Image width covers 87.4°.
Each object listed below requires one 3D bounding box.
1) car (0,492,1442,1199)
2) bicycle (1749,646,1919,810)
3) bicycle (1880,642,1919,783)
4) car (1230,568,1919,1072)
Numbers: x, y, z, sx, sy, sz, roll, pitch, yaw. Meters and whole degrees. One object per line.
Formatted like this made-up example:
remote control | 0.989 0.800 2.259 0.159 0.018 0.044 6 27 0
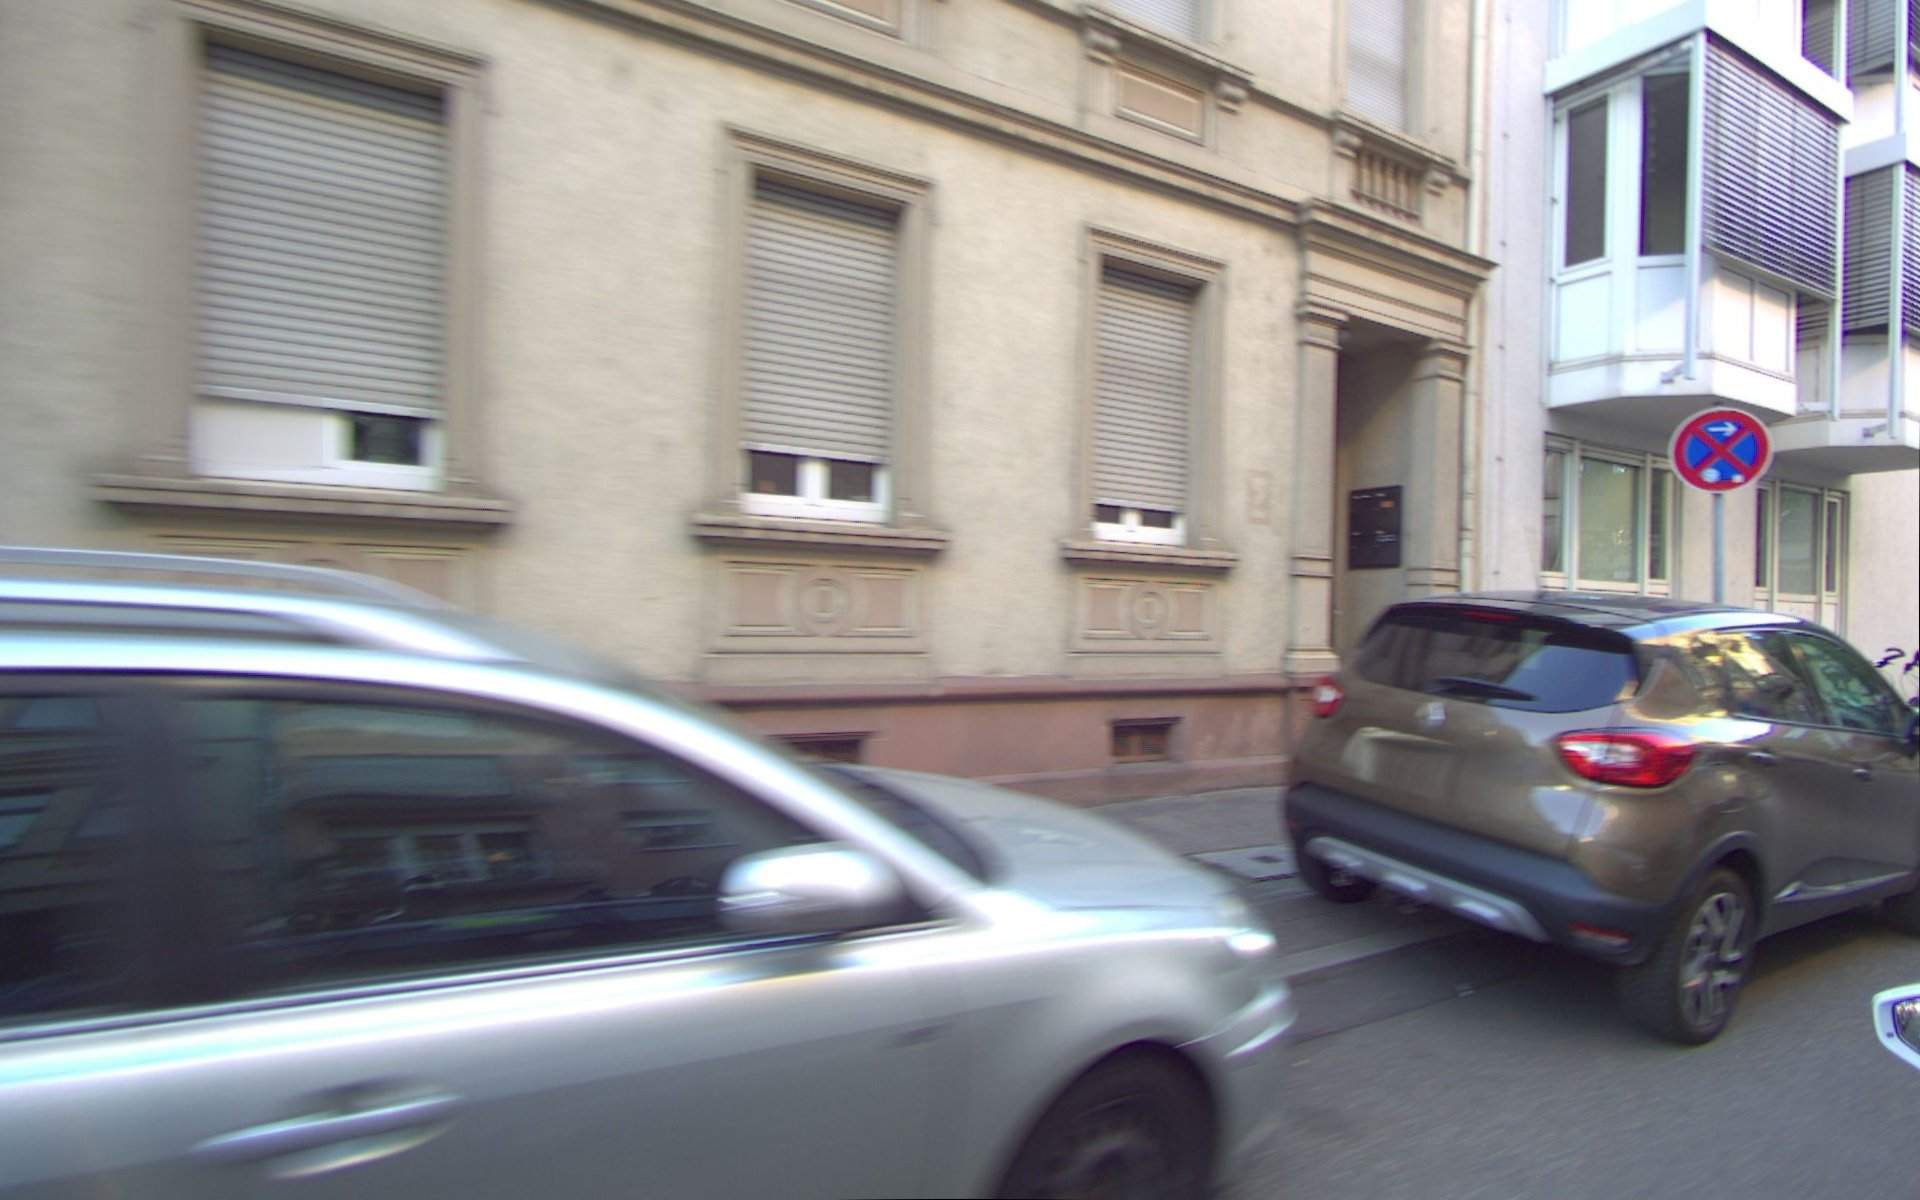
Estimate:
car | -1.155 0.676 2.011 4.385 1.559 1.781 1 -1 -32
bicycle | 7.434 0.995 8.348 2.238 1.203 0.593 1 -1 -30
bicycle | 9.193 1.016 9.411 1.791 1.239 0.305 1 0 -30
car | 3.433 0.740 5.027 4.026 1.597 1.781 1 -1 -32
